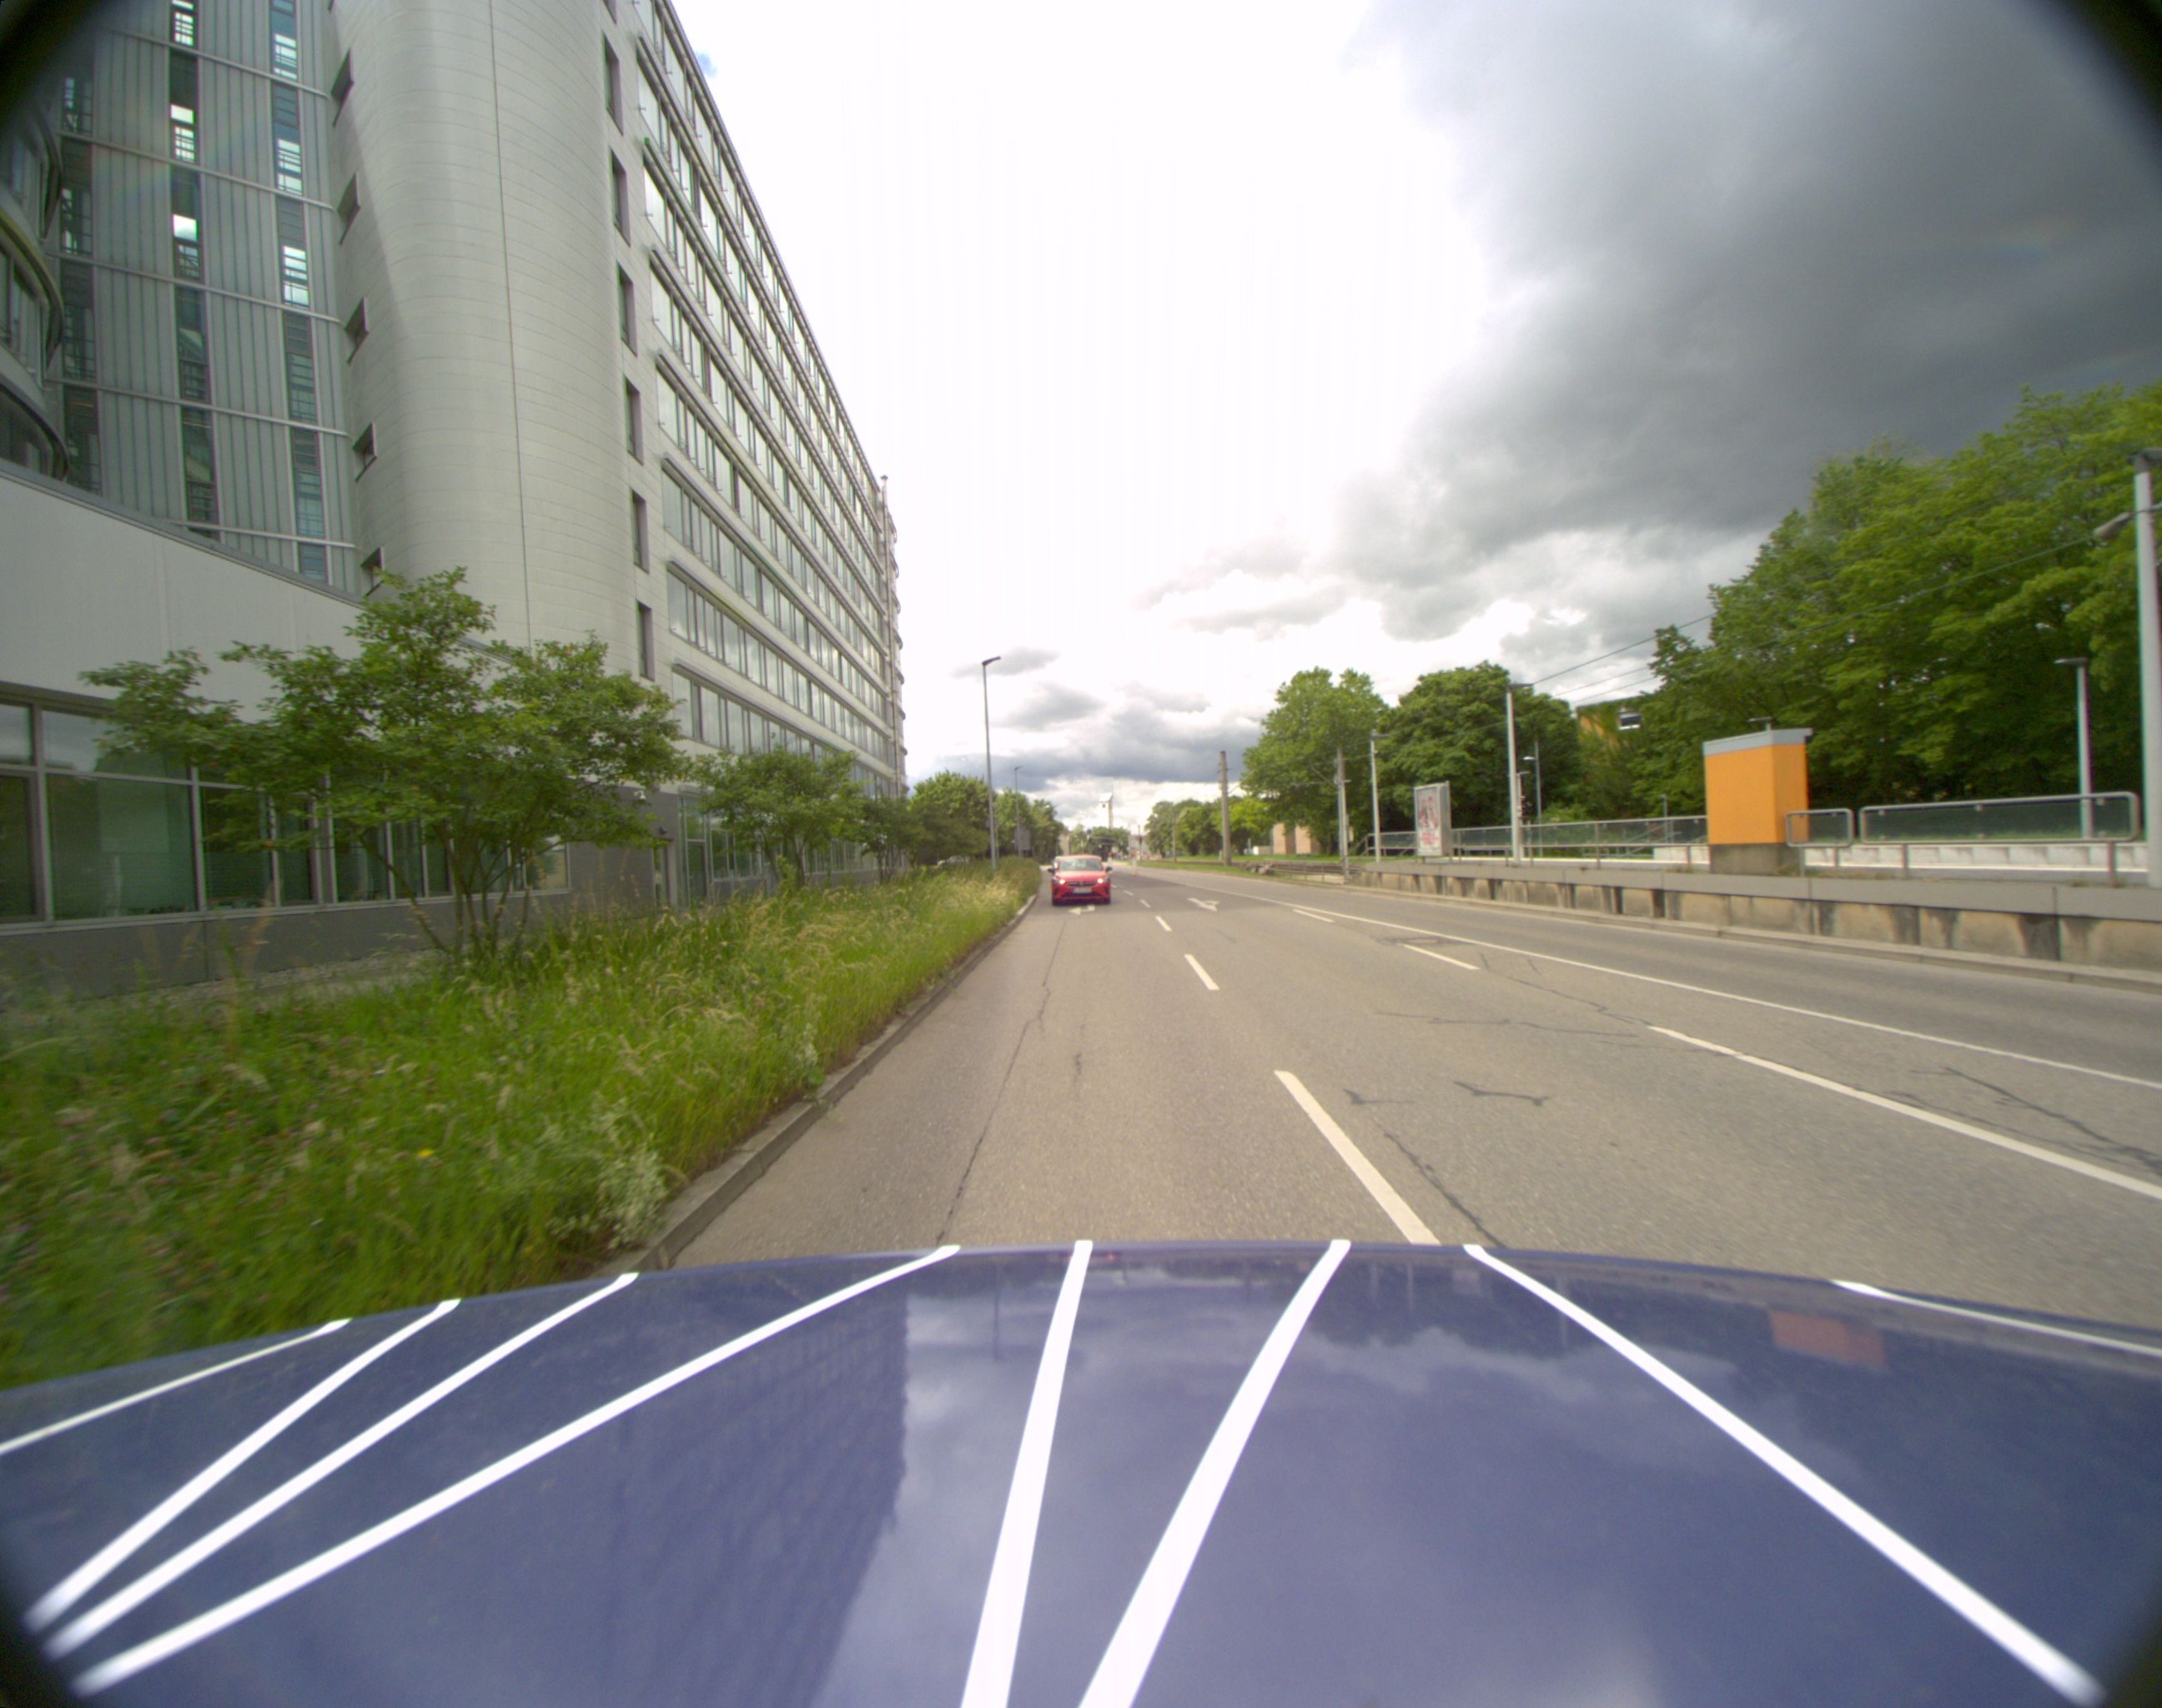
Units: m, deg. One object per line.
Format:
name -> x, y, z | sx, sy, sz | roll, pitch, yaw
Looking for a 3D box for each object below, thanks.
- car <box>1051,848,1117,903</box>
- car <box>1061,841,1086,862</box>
car -> 0.070, 0.589, 23.761 | 1.790, 1.453, 4.851 | -3, 1, -1
car -> -0.556, -0.233, 61.329 | 1.841, 1.587, 3.999 | -3, 1, 1
